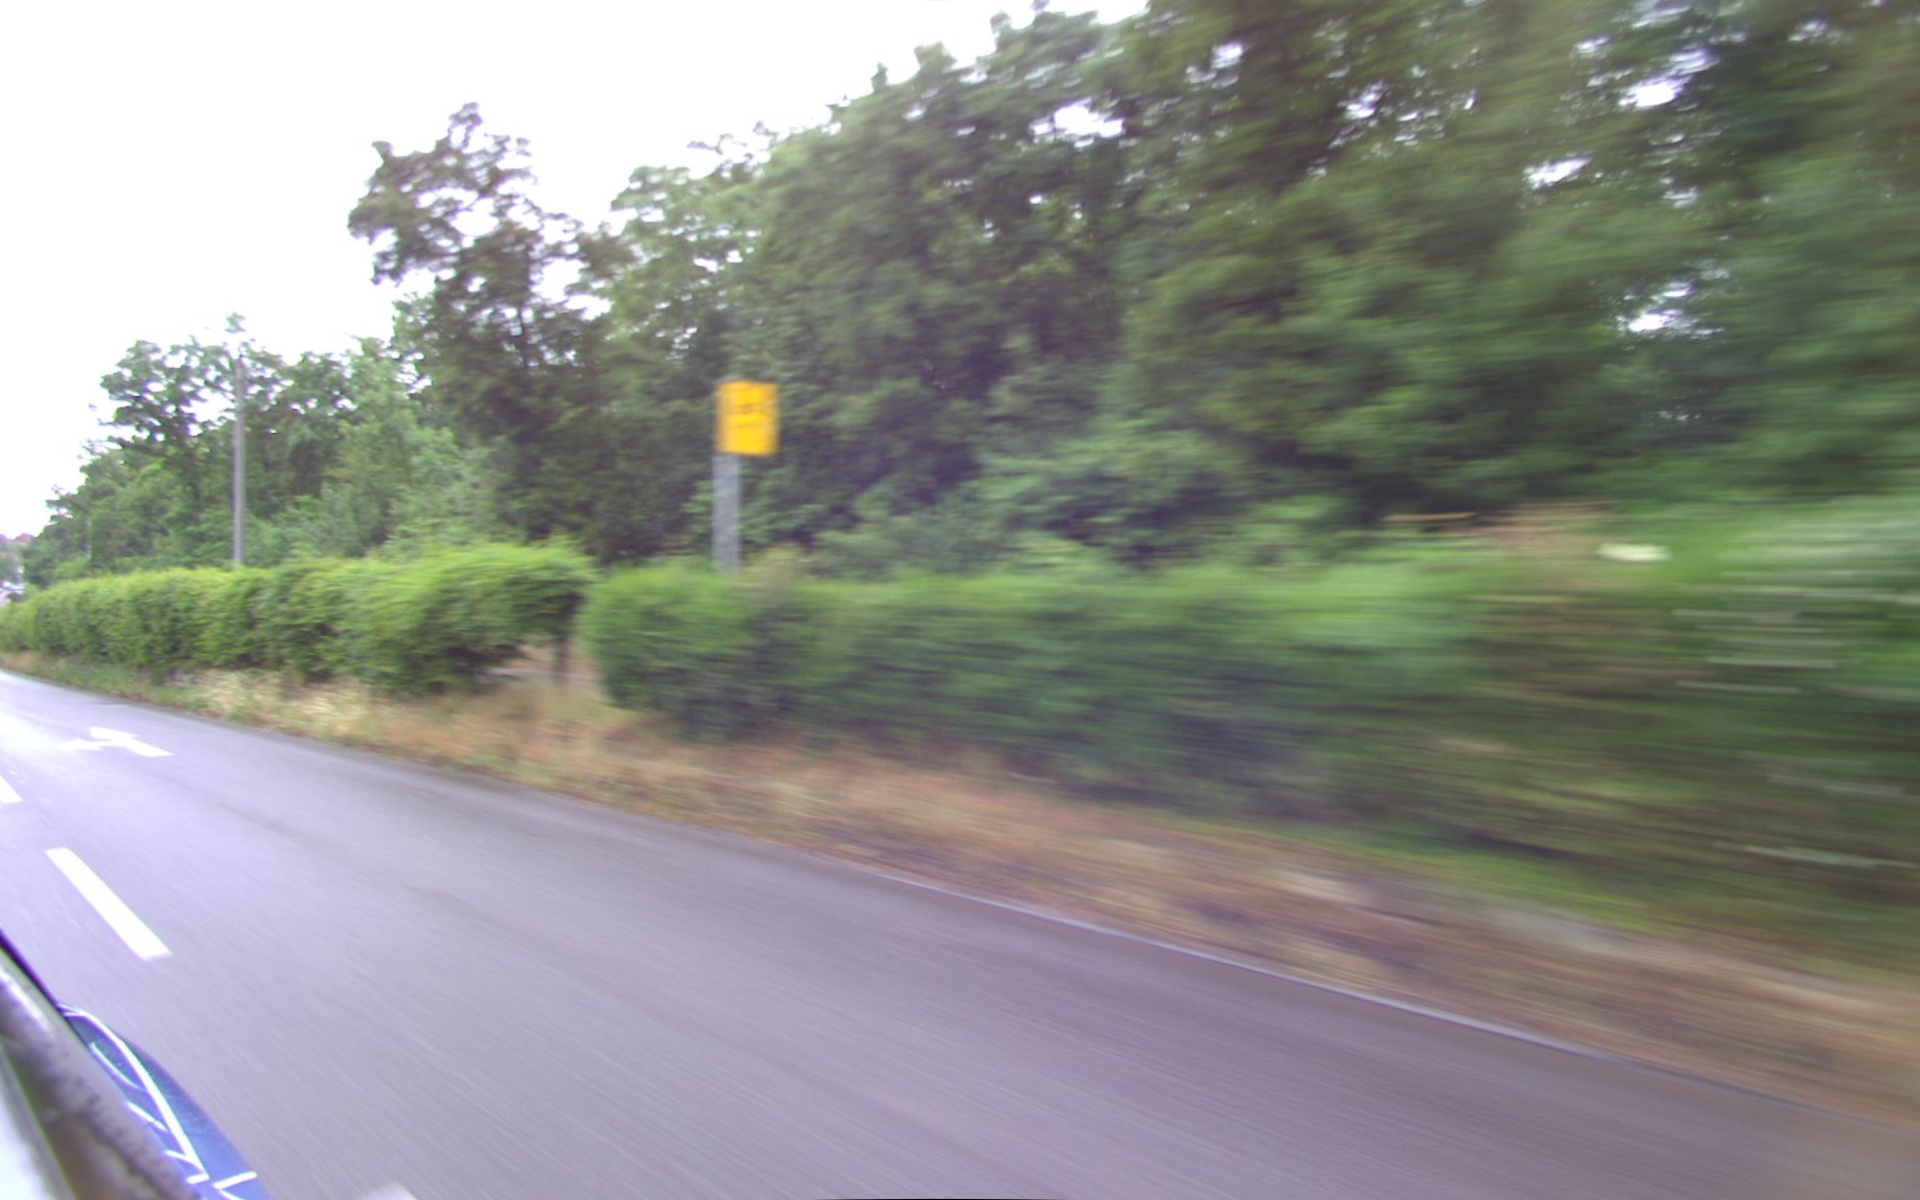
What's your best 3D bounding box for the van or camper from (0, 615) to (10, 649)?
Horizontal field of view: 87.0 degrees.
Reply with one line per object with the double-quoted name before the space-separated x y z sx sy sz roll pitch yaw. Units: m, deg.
"van or camper" -94.354 3.119 98.509 2.698 3.251 6.982 -1 0 -43
